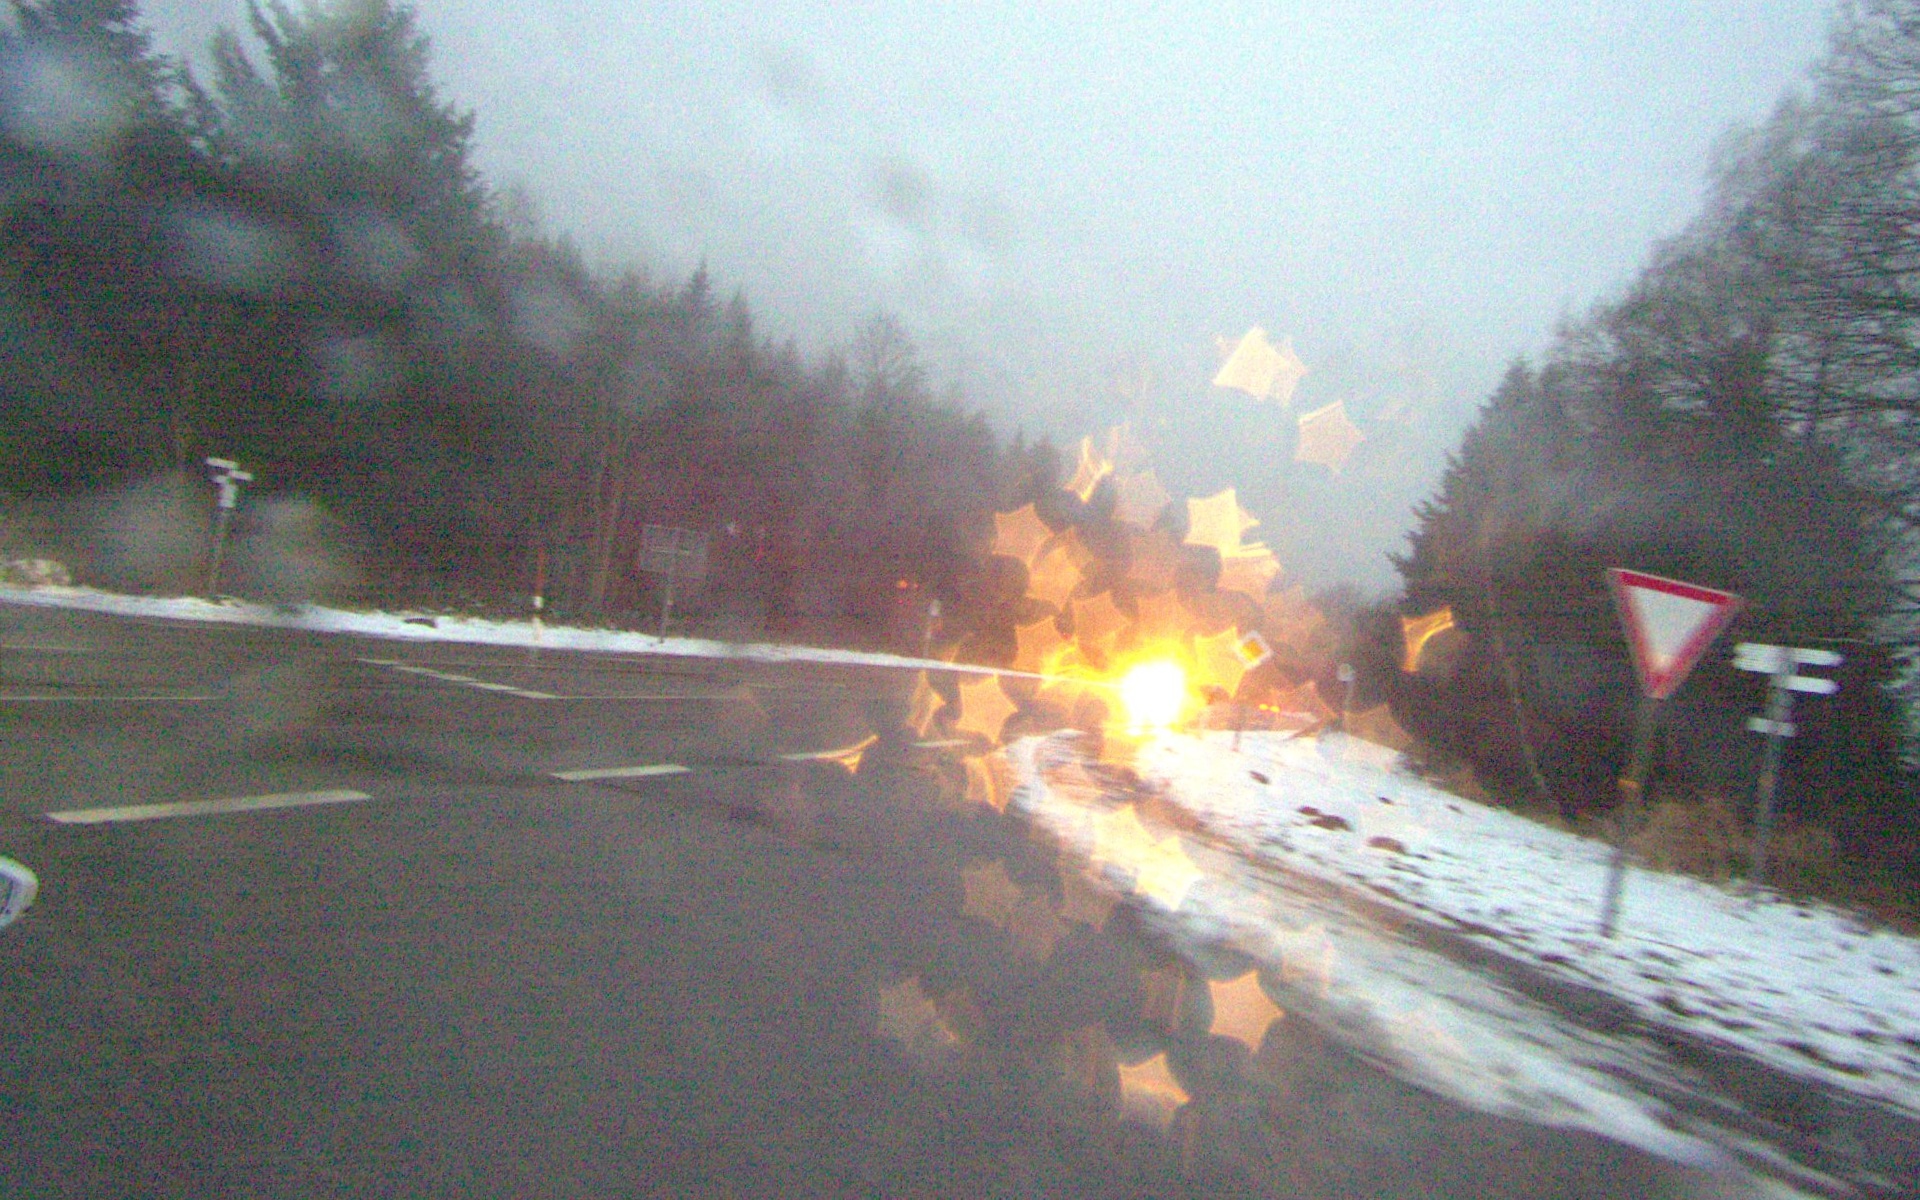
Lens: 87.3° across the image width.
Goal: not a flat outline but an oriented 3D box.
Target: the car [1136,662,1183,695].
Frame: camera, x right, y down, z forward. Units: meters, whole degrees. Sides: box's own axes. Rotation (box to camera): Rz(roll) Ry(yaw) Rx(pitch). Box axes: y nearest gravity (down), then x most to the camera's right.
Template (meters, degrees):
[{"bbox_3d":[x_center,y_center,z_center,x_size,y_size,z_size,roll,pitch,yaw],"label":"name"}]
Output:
[{"bbox_3d":[10.291,4.062,51.773,1.548,1.469,3.414,7,-2,23],"label":"car"}]
